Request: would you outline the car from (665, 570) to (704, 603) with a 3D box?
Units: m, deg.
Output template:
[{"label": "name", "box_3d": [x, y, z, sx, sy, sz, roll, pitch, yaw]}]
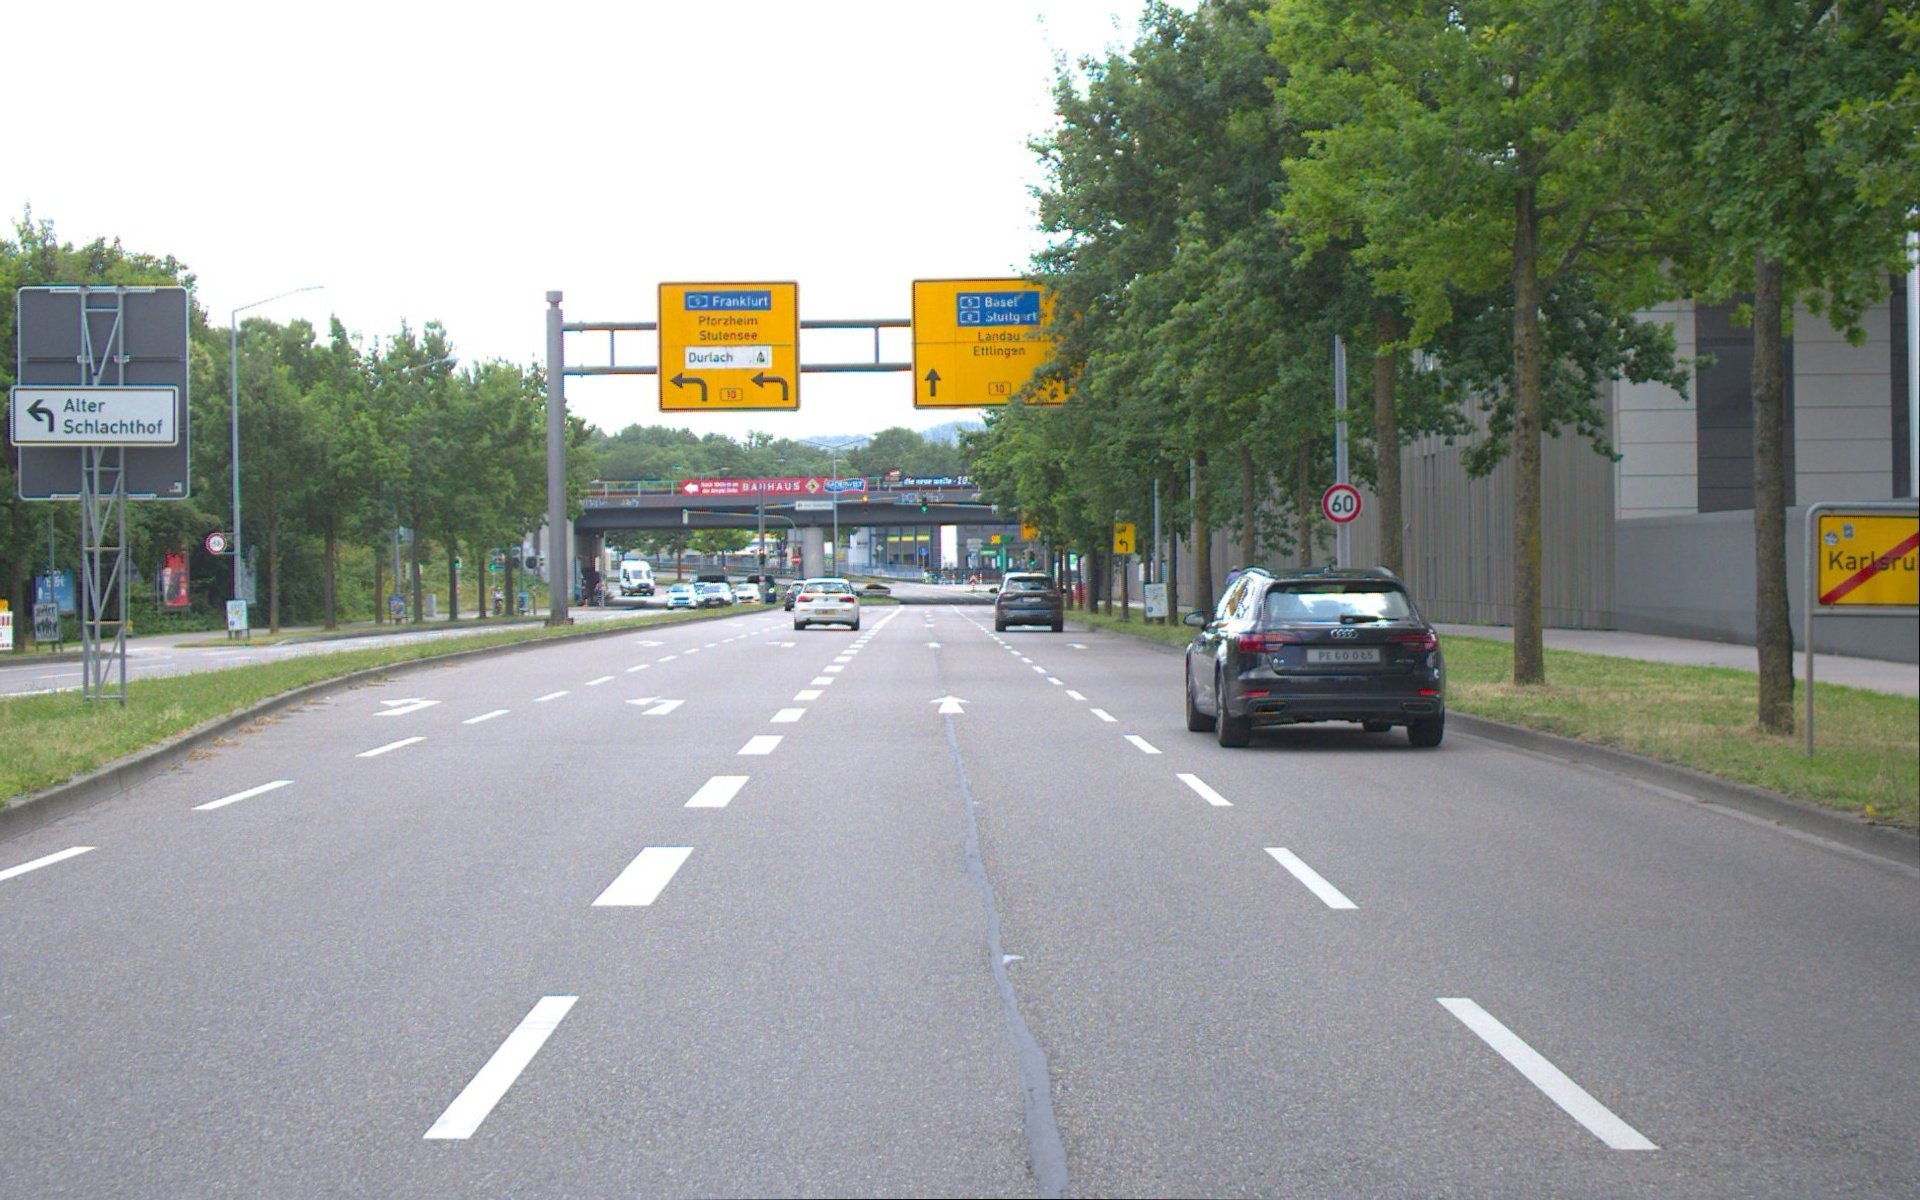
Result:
[{"label": "car", "box_3d": [-15.680, -0.751, 195.998, 1.993, 1.777, 4.000, 1, -1, -1]}]

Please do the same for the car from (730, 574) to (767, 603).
[{"label": "car", "box_3d": [-13.035, -0.682, 212.026, 1.993, 1.711, 4.000, 1, -1, -1]}]

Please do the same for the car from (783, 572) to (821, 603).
[{"label": "car", "box_3d": [-7.535, -0.612, 164.108, 1.774, 1.458, 4.000, 1, 0, -3]}]

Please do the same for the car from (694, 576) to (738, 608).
[{"label": "car", "box_3d": [-12.964, -0.436, 182.777, 1.993, 1.612, 4.000, -1, 0, 1]}]

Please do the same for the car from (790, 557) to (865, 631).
[{"label": "car", "box_3d": [-3.712, -0.177, 95.598, 1.993, 2.007, 4.000, 1, 0, -3]}]

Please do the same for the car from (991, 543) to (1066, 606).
[{"label": "car", "box_3d": [1.907, -0.730, 95.410, 1.993, 1.620, 4.309, -1, 1, 2]}]

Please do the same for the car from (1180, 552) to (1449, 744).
[{"label": "car", "box_3d": [2.849, 0.354, 28.404, 1.684, 1.458, 4.000, 1, 0, -2]}]
